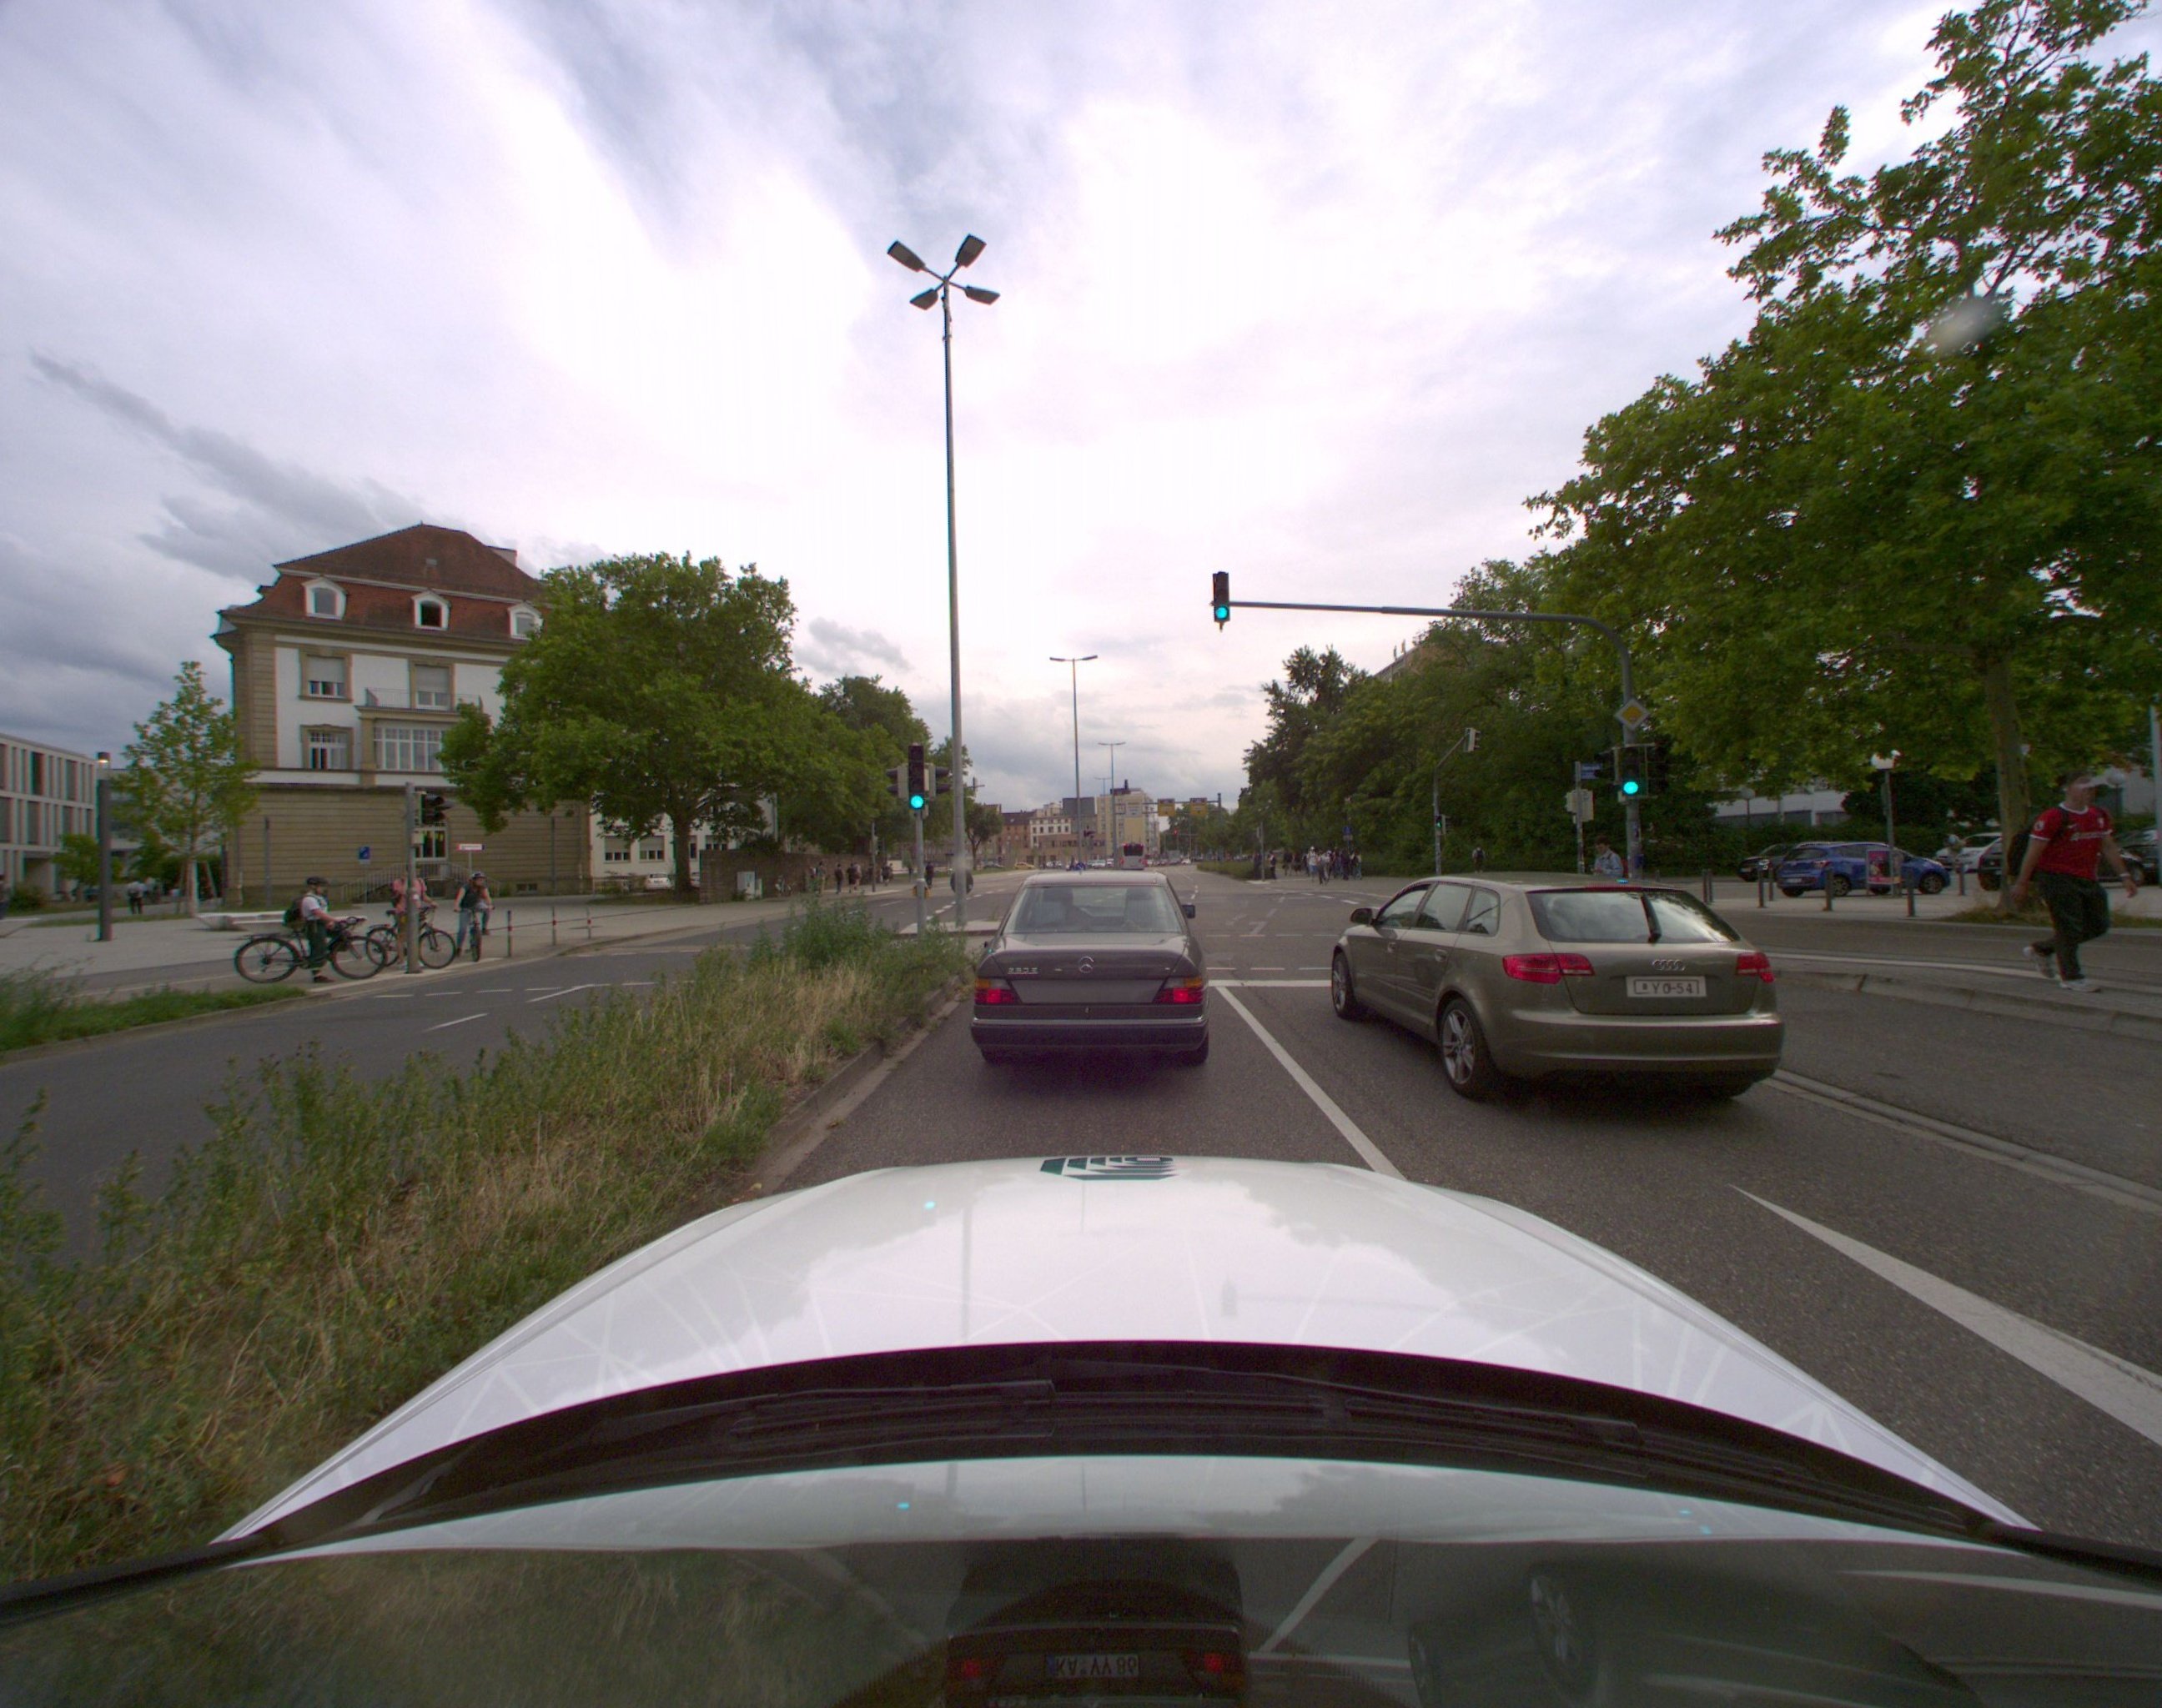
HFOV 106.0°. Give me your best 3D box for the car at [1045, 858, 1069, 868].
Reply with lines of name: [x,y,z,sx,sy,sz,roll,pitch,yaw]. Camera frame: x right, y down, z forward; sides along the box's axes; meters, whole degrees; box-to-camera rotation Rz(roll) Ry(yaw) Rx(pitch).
car: [-4.549,1.717,155.278,4.171,1.649,1.634,-2,-1,-23]

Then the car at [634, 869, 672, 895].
car: [-30.890,1.978,58.678,1.919,1.751,3.956,-1,-1,-35]

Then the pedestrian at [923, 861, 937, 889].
pedestrian: [-9.751,1.356,52.471,0.761,1.783,0.717,-1,-2,-19]

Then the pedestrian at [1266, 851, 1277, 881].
pedestrian: [10.898,0.687,46.538,0.452,1.735,0.637,-2,-1,3]

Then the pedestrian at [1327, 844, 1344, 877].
pedestrian: [13.926,0.371,44.504,0.654,1.745,0.781,-2,-1,3]

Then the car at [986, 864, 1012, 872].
car: [-14.987,2.563,148.811,4.654,1.475,1.660,0,-1,0]

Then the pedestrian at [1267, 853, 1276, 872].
pedestrian: [16.944,0.775,72.493,0.584,1.683,0.749,-2,-1,5]

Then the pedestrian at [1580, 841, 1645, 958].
pedestrian: [8.491,0.710,13.042,0.570,1.817,0.683,-2,-1,5]

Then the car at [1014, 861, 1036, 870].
car: [-10.192,2.066,148.662,3.844,1.517,1.660,0,-1,0]

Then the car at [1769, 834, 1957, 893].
car: [21.680,0.263,22.691,3.558,1.492,1.675,-2,-2,1]

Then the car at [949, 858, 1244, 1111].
car: [0.157,0.816,7.058,1.754,1.489,4.172,-2,-1,2]

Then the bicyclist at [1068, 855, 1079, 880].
bicyclist: [-0.506,0.881,53.630,0.569,1.574,0.701,-2,-1,9]

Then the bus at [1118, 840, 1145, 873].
bus: [5.675,0.301,91.890,2.819,3.390,8.190,-2,-1,4]

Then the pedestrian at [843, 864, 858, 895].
pedestrian: [-13.546,1.514,47.881,0.762,1.783,0.777,-1,-3,-24]

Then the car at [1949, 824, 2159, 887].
car: [26.739,0.065,22.475,3.669,1.567,1.675,-2,-2,1]

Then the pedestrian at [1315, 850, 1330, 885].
pedestrian: [11.893,0.652,40.090,0.543,1.687,0.637,-2,-1,3]

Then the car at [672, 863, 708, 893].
car: [-28.576,1.753,59.442,1.794,2.014,3.957,-1,-1,-34]

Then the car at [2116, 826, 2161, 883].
car: [31.671,-0.043,22.276,4.422,1.567,1.675,-2,-2,1]

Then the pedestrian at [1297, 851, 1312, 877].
pedestrian: [14.200,0.607,51.707,0.771,1.602,0.813,-2,-1,5]

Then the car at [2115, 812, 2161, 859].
car: [41.687,-0.739,30.223,4.264,1.692,1.685,-2,-2,2]

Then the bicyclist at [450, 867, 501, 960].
bicyclist: [-11.945,1.157,16.077,0.600,1.807,0.559,0,-1,-12]

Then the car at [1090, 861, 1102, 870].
car: [2.485,1.932,136.169,1.793,1.489,4.293,-2,-1,4]

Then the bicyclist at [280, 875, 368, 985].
bicyclist: [-11.955,1.173,12.887,0.727,1.673,0.721,0,-1,-12]

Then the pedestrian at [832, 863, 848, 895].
pedestrian: [-13.546,1.393,45.770,0.762,1.783,0.777,0,-3,-25]

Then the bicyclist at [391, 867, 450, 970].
bicyclist: [-11.863,1.133,14.650,0.600,1.807,0.559,0,-1,-12]

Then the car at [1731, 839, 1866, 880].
car: [27.325,0.228,31.094,3.556,1.442,1.685,-2,-2,2]

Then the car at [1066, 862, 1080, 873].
car: [-1.116,1.977,118.104,1.754,1.489,4.548,-2,-1,3]

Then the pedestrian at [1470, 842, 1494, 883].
pedestrian: [18.078,0.373,36.720,0.642,1.795,0.741,-2,-1,3]

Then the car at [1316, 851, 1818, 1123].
car: [3.241,0.753,6.398,1.718,1.457,3.736,-2,-1,1]

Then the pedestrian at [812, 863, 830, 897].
pedestrian: [-13.600,1.367,42.555,0.749,1.783,0.777,0,-3,-28]
